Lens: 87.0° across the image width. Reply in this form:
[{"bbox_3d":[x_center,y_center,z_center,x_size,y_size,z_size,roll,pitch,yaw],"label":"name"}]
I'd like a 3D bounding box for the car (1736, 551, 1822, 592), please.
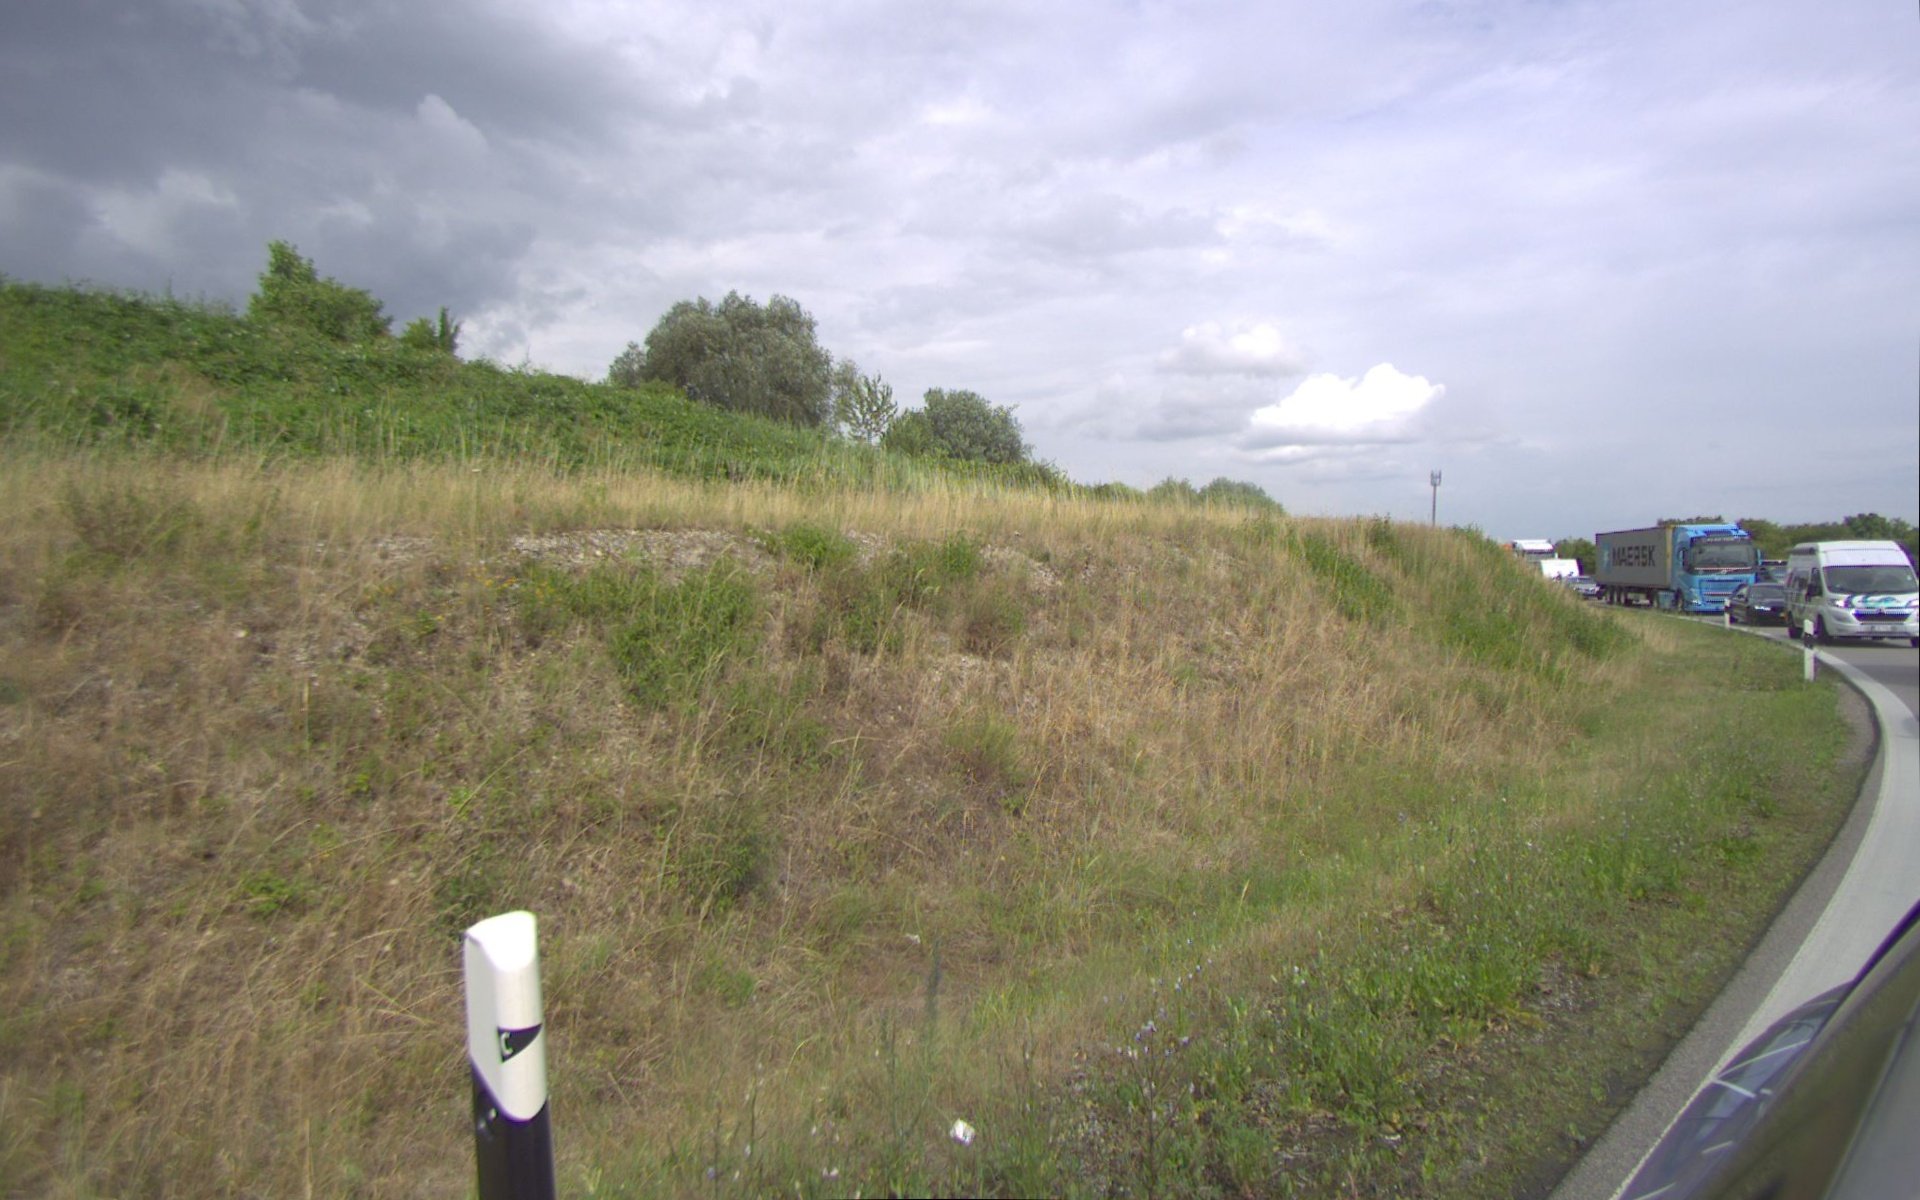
[{"bbox_3d":[47.176,-1.668,58.423,1.971,2.286,4.790,0,2,14],"label":"car"}]

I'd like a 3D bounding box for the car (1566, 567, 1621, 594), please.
[{"bbox_3d":[39.146,-1.229,62.628,1.974,1.548,3.977,0,2,19],"label":"car"}]

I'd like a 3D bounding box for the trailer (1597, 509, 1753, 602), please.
[{"bbox_3d":[36.279,-2.097,52.027,3.234,4.214,11.943,0,0,19],"label":"trailer"}]

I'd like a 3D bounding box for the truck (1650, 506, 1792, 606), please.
[{"bbox_3d":[33.881,-1.835,45.384,3.139,4.124,6.605,0,0,19],"label":"truck"}]

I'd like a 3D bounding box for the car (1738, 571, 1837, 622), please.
[{"bbox_3d":[29.120,-0.181,35.742,1.983,1.638,3.960,1,2,29],"label":"car"}]

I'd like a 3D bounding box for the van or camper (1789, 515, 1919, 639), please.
[{"bbox_3d":[23.851,-0.579,26.532,2.379,2.945,5.659,0,0,30],"label":"van or camper"}]

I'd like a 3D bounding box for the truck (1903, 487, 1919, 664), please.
[{"bbox_3d":[17.385,-0.407,14.910,2.538,3.207,7.414,0,0,22],"label":"truck"}]

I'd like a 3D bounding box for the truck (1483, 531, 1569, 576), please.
[{"bbox_3d":[44.155,-3.570,79.442,3.080,3.279,11.113,0,2,14],"label":"truck"}]

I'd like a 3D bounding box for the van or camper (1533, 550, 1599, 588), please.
[{"bbox_3d":[40.819,-2.148,68.381,2.519,2.237,5.684,-1,4,17],"label":"van or camper"}]
